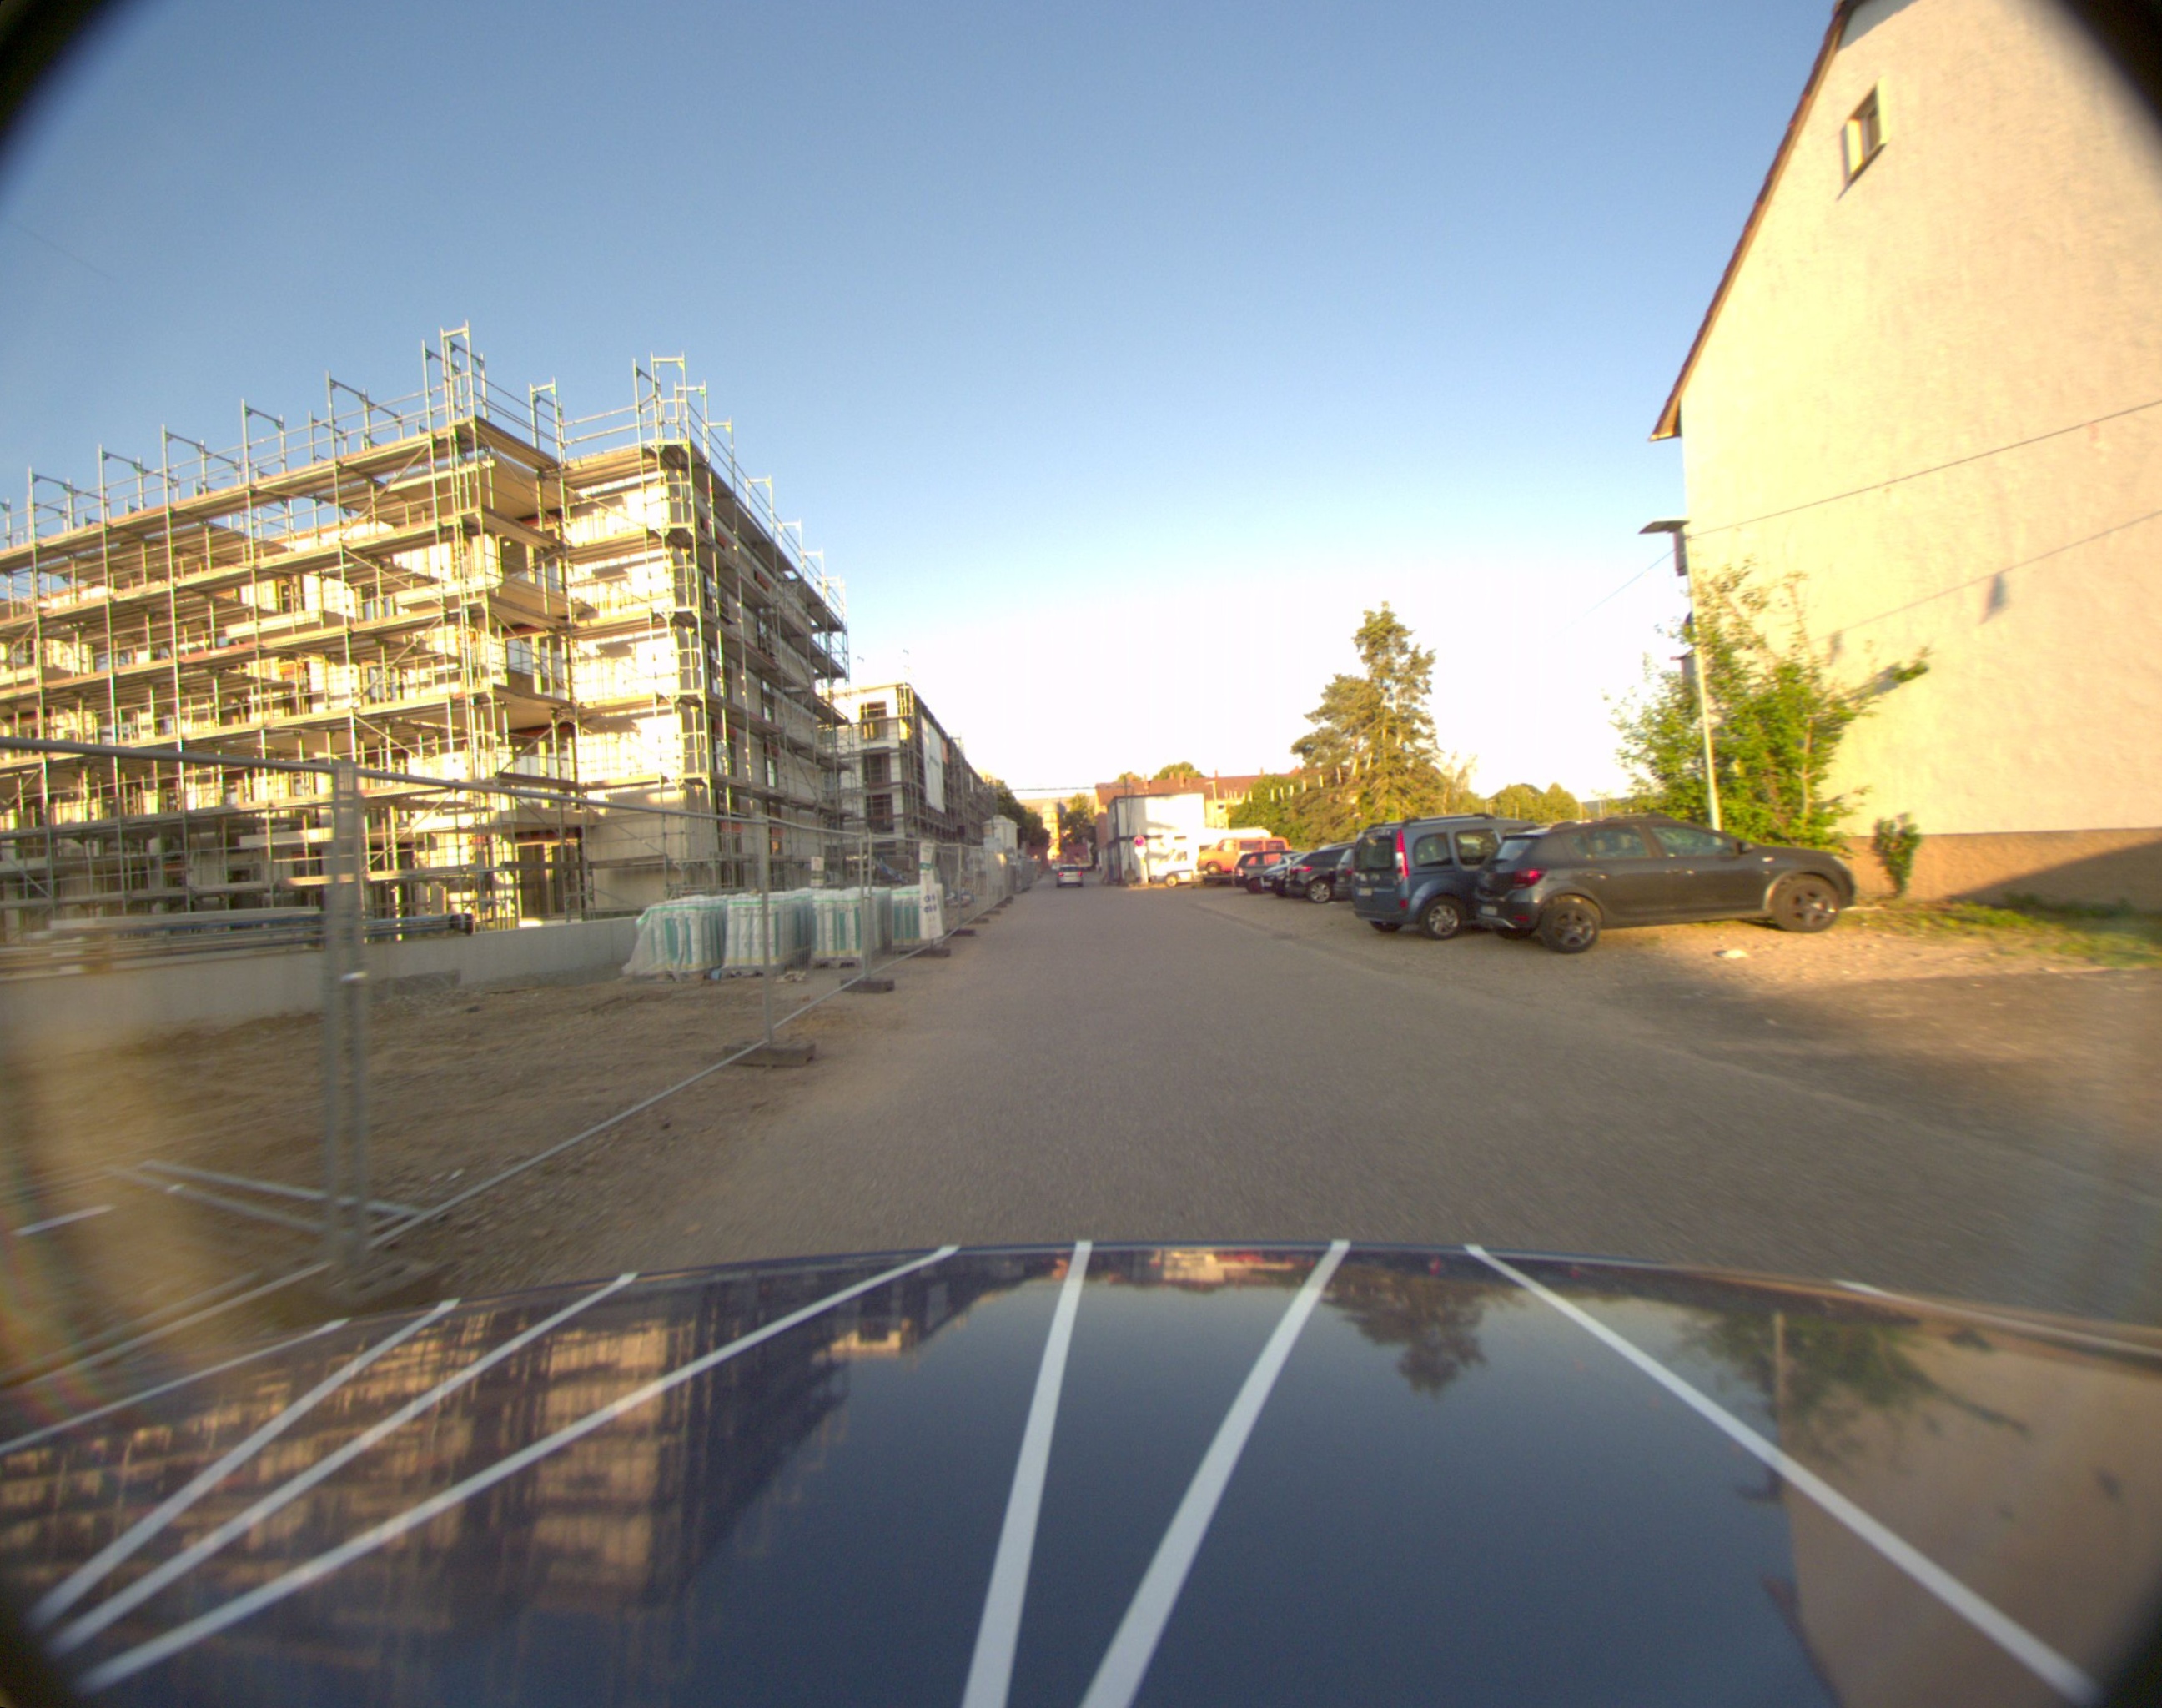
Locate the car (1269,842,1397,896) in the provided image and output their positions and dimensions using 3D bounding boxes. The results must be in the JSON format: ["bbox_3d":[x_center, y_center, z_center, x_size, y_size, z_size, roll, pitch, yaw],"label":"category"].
[{"bbox_3d":[8.763,0.534,26.708,3.933,1.511,1.810,-5,-1,8],"label":"car"}]

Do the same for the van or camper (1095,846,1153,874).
[{"bbox_3d":[5.037,0.726,89.955,6.470,2.624,2.407,-6,0,1],"label":"van or camper"}]

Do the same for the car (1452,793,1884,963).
[{"bbox_3d":[7.197,0.303,9.719,3.933,1.642,1.749,-5,0,7],"label":"car"}]

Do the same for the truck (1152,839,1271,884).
[{"bbox_3d":[6.979,0.399,41.239,6.026,2.031,2.356,-4,0,2],"label":"truck"}]

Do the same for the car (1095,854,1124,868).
[{"bbox_3d":[3.761,0.904,102.033,3.726,1.507,1.809,-6,0,1],"label":"car"}]

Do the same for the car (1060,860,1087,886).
[{"bbox_3d":[-0.499,1.274,52.237,1.675,1.610,4.285,-4,0,0],"label":"car"}]

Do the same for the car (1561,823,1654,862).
[{"bbox_3d":[24.960,-0.518,36.172,1.847,1.659,3.939,-4,0,5],"label":"car"}]

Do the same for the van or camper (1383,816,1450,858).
[{"bbox_3d":[24.121,-1.164,54.955,2.261,2.754,5.800,-4,0,1],"label":"van or camper"}]

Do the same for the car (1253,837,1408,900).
[{"bbox_3d":[7.570,0.463,23.375,4.099,1.618,1.821,-3,-2,2],"label":"car"}]

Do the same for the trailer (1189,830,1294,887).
[{"bbox_3d":[8.028,0.217,38.412,4.802,2.419,2.134,-5,2,6],"label":"trailer"}]

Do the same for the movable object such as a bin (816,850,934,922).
[{"bbox_3d":[-7.516,1.072,28.884,2.070,2.260,8.368,-2,0,0],"label":"movable object such as a bin"}]

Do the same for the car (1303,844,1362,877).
[{"bbox_3d":[12.728,0.316,38.641,1.847,1.514,3.939,-4,0,4],"label":"car"}]

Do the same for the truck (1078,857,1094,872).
[{"bbox_3d":[0.757,1.674,120.201,1.842,2.089,3.738,-5,0,-8],"label":"truck"}]

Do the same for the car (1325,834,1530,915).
[{"bbox_3d":[7.901,0.468,17.626,3.934,1.571,1.644,-4,-1,5],"label":"car"}]

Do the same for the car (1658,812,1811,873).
[{"bbox_3d":[20.056,-0.348,23.596,1.846,1.621,4.321,-4,0,15],"label":"car"}]

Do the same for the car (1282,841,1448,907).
[{"bbox_3d":[7.666,0.513,20.817,3.933,1.508,1.644,-4,1,8],"label":"car"}]

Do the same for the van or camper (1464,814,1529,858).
[{"bbox_3d":[28.326,-1.186,52.004,2.206,2.692,5.752,-3,0,12],"label":"van or camper"}]

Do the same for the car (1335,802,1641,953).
[{"bbox_3d":[6.433,0.341,12.218,3.938,1.900,1.747,-5,0,-8],"label":"car"}]

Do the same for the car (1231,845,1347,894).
[{"bbox_3d":[7.958,0.570,29.372,4.044,1.610,1.850,-4,0,8],"label":"car"}]
